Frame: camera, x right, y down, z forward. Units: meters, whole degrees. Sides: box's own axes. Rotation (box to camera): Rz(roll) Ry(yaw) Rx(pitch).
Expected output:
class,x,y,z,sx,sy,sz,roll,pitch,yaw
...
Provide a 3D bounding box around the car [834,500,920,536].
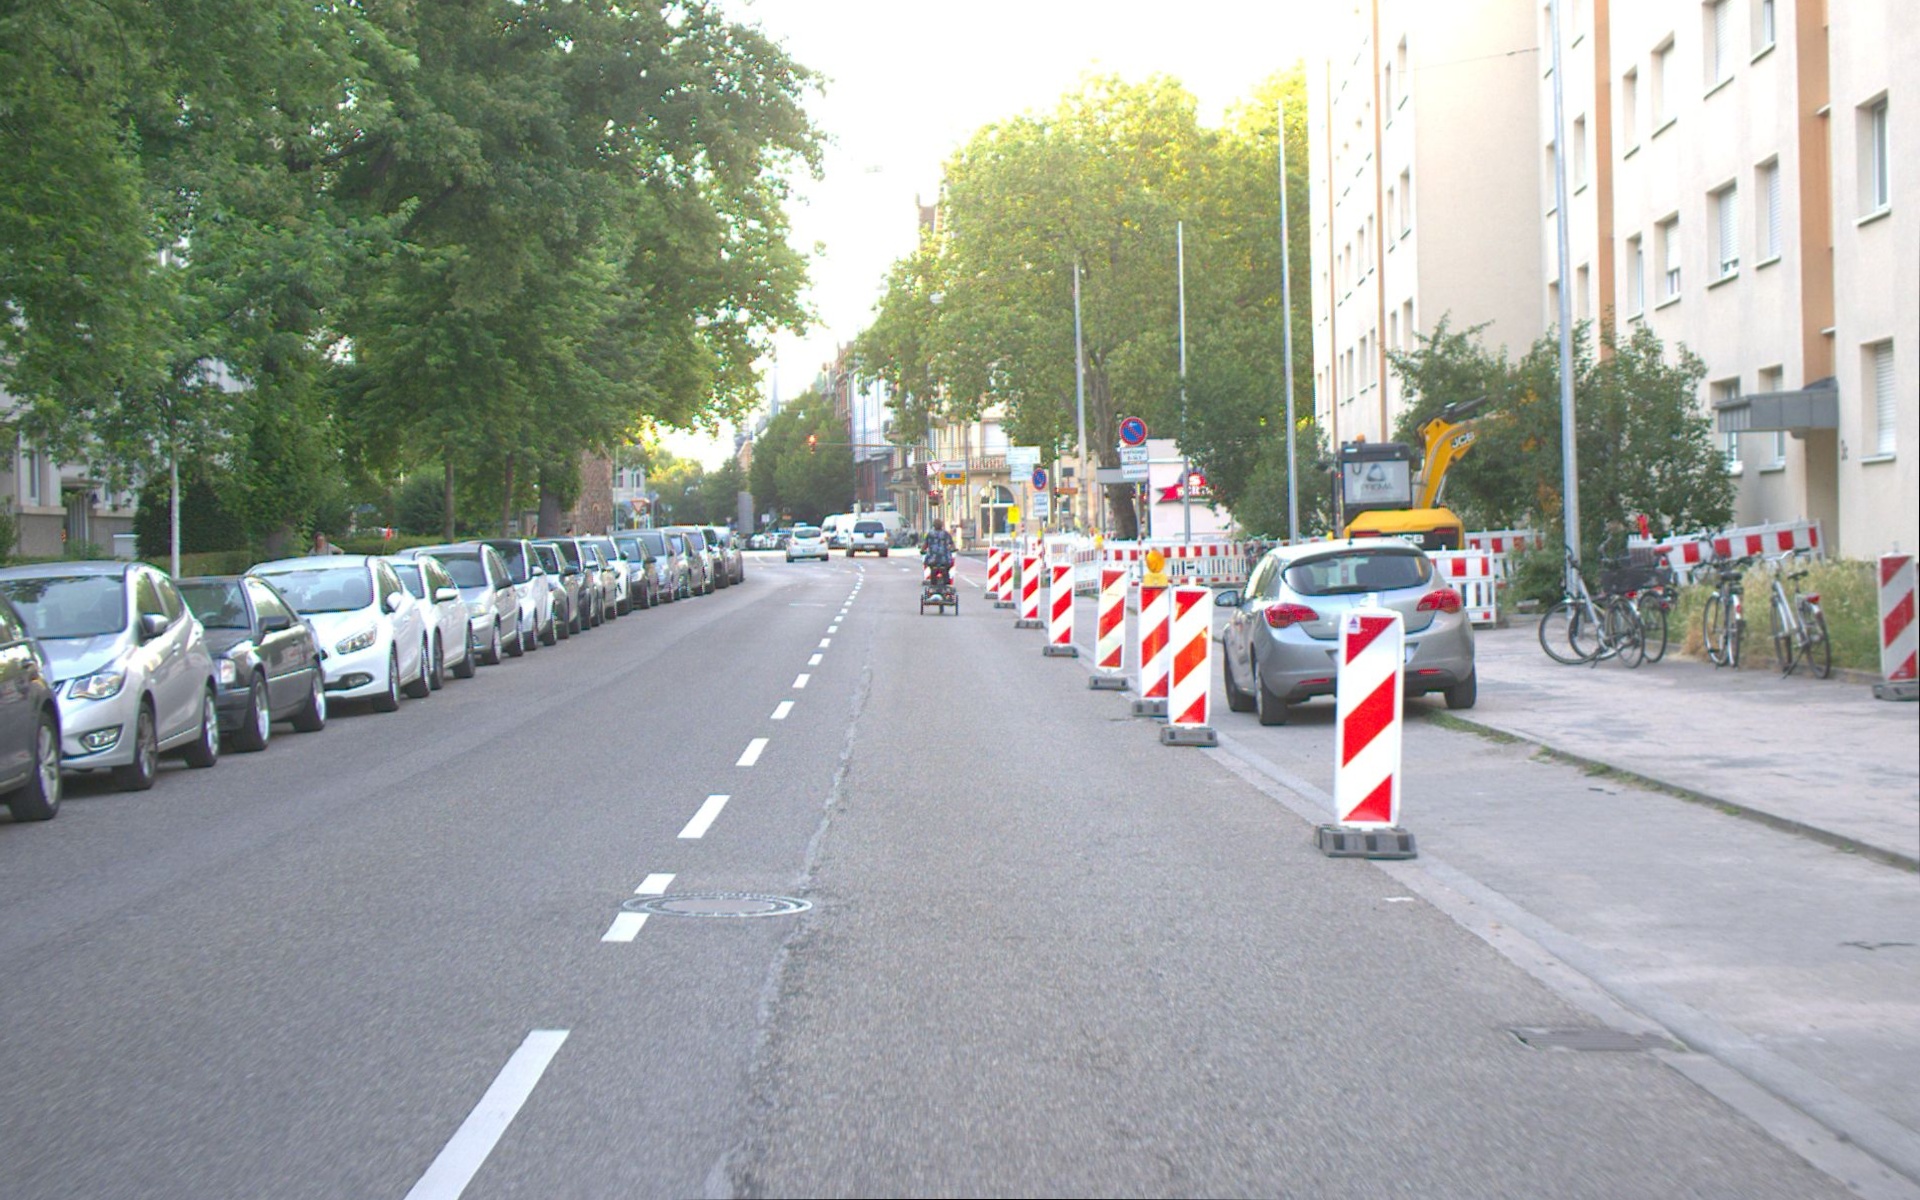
class,x,y,z,sx,sy,sz,roll,pitch,yaw
car,-5.476,-5.430,226.948,5.807,2.280,2.071,-2,2,-44

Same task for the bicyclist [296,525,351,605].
class,x,y,z,sx,sy,sz,roll,pitch,yaw
bicyclist,-11.254,-0.625,60.799,0.808,1.399,0.974,0,1,-1

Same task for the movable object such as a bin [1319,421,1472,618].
class,x,y,z,sx,sy,sz,roll,pitch,yaw
movable object such as a bin,6.130,-1.140,48.679,1.933,2.683,2.891,-1,1,4

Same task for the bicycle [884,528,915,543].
class,x,y,z,sx,sy,sz,roll,pitch,yaw
bicycle,-3.886,-4.142,220.754,1.914,0.965,0.546,-1,1,-2

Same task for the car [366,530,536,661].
class,x,y,z,sx,sy,sz,roll,pitch,yaw
car,-6.454,-0.091,43.913,1.590,1.500,3.800,-4,1,-1

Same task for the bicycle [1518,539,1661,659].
class,x,y,z,sx,sy,sz,roll,pitch,yaw
bicycle,6.307,-0.027,34.520,0.556,1.168,1.817,-1,1,-21

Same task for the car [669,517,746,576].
class,x,y,z,sx,sy,sz,roll,pitch,yaw
car,-7.362,-1.581,100.659,1.953,1.611,4.606,-3,1,-1

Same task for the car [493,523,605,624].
class,x,y,z,sx,sy,sz,roll,pitch,yaw
car,-6.782,-0.458,56.943,1.523,1.524,3.165,-4,1,-2

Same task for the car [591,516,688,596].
class,x,y,z,sx,sy,sz,roll,pitch,yaw
car,-6.985,-0.984,75.305,1.707,1.595,4.117,-4,1,-1

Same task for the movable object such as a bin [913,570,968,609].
class,x,y,z,sx,sy,sz,roll,pitch,yaw
movable object such as a bin,-0.369,-0.199,65.135,0.939,0.686,0.993,-4,1,-4

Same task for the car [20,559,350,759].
class,x,y,z,sx,sy,sz,roll,pitch,yaw
car,-6.117,0.406,27.633,1.674,1.327,4.580,-4,1,-2

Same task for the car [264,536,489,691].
class,x,y,z,sx,sy,sz,roll,pitch,yaw
car,-6.263,0.099,37.337,1.692,1.454,4.484,-4,1,-1

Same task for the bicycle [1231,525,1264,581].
class,x,y,z,sx,sy,sz,roll,pitch,yaw
bicycle,6.308,-1.033,75.444,0.451,1.217,1.911,-1,1,-3

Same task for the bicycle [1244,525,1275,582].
class,x,y,z,sx,sy,sz,roll,pitch,yaw
bicycle,6.581,-1.032,75.538,0.398,1.217,1.911,-1,1,-3

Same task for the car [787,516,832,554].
class,x,y,z,sx,sy,sz,roll,pitch,yaw
car,-6.509,-2.821,148.461,1.866,1.580,4.001,-2,1,-3

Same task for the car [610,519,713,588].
class,x,y,z,sx,sy,sz,roll,pitch,yaw
car,-6.918,-1.106,80.110,1.733,1.492,4.270,-3,1,3

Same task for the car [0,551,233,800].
class,x,y,z,sx,sy,sz,roll,pitch,yaw
car,-6.010,0.463,22.877,1.674,1.454,3.706,-4,1,-3

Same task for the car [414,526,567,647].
class,x,y,z,sx,sy,sz,roll,pitch,yaw
car,-6.532,-0.211,48.089,1.590,1.524,2.921,-4,1,1

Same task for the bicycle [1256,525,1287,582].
class,x,y,z,sx,sy,sz,roll,pitch,yaw
bicycle,6.833,-1.029,75.473,0.398,1.217,1.826,-1,1,-3

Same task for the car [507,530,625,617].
class,x,y,z,sx,sy,sz,roll,pitch,yaw
car,-6.960,-0.498,61.089,1.590,1.399,4.181,-4,1,-1

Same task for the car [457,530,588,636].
class,x,y,z,sx,sy,sz,roll,pitch,yaw
car,-6.665,-0.293,52.672,1.590,1.461,4.103,-4,1,-3

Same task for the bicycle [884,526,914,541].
class,x,y,z,sx,sy,sz,roll,pitch,yaw
bicycle,-3.914,-4.256,220.626,1.914,0.965,0.546,-1,1,-2

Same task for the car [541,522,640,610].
class,x,y,z,sx,sy,sz,roll,pitch,yaw
car,-7.115,-0.675,66.494,1.590,1.533,4.207,-4,1,-3

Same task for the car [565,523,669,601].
class,x,y,z,sx,sy,sz,roll,pitch,yaw
car,-7.043,-0.805,70.889,1.707,1.447,3.843,-4,1,-1

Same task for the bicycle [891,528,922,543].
class,x,y,z,sx,sy,sz,roll,pitch,yaw
bicycle,-3.434,-4.149,221.548,1.916,0.965,0.545,0,1,13

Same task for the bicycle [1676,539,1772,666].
class,x,y,z,sx,sy,sz,roll,pitch,yaw
bicycle,7.324,0.008,33.006,0.556,1.168,1.817,0,1,2

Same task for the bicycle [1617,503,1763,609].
class,x,y,z,sx,sy,sz,roll,pitch,yaw
bicycle,8.522,-0.520,40.149,1.592,1.217,0.485,-1,1,-7

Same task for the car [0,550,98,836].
class,x,y,z,sx,sy,sz,roll,pitch,yaw
car,-5.906,0.543,17.932,1.752,1.474,4.679,-4,1,-3

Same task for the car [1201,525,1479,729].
class,x,y,z,sx,sy,sz,roll,pitch,yaw
car,3.188,0.165,29.675,1.776,1.485,4.573,-5,1,0

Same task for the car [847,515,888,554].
class,x,y,z,sx,sy,sz,roll,pitch,yaw
car,-4.440,-3.152,164.696,1.866,1.808,4.001,-2,1,-2

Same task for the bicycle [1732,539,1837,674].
class,x,y,z,sx,sy,sz,roll,pitch,yaw
bicycle,7.413,0.043,30.959,0.556,1.168,1.817,0,1,2

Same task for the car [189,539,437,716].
class,x,y,z,sx,sy,sz,roll,pitch,yaw
car,-6.091,0.209,32.769,1.692,1.454,4.146,-4,1,-3

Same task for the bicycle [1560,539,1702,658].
class,x,y,z,sx,sy,sz,roll,pitch,yaw
bicycle,6.816,-0.031,35.028,0.626,1.168,1.817,-1,1,-17

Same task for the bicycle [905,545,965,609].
class,x,y,z,sx,sy,sz,roll,pitch,yaw
bicycle,-0.499,-0.454,66.807,0.939,1.168,2.359,-4,1,-4

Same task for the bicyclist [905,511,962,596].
class,x,y,z,sx,sy,sz,roll,pitch,yaw
bicyclist,-0.515,-0.908,66.649,0.939,1.576,1.146,-3,1,-4
